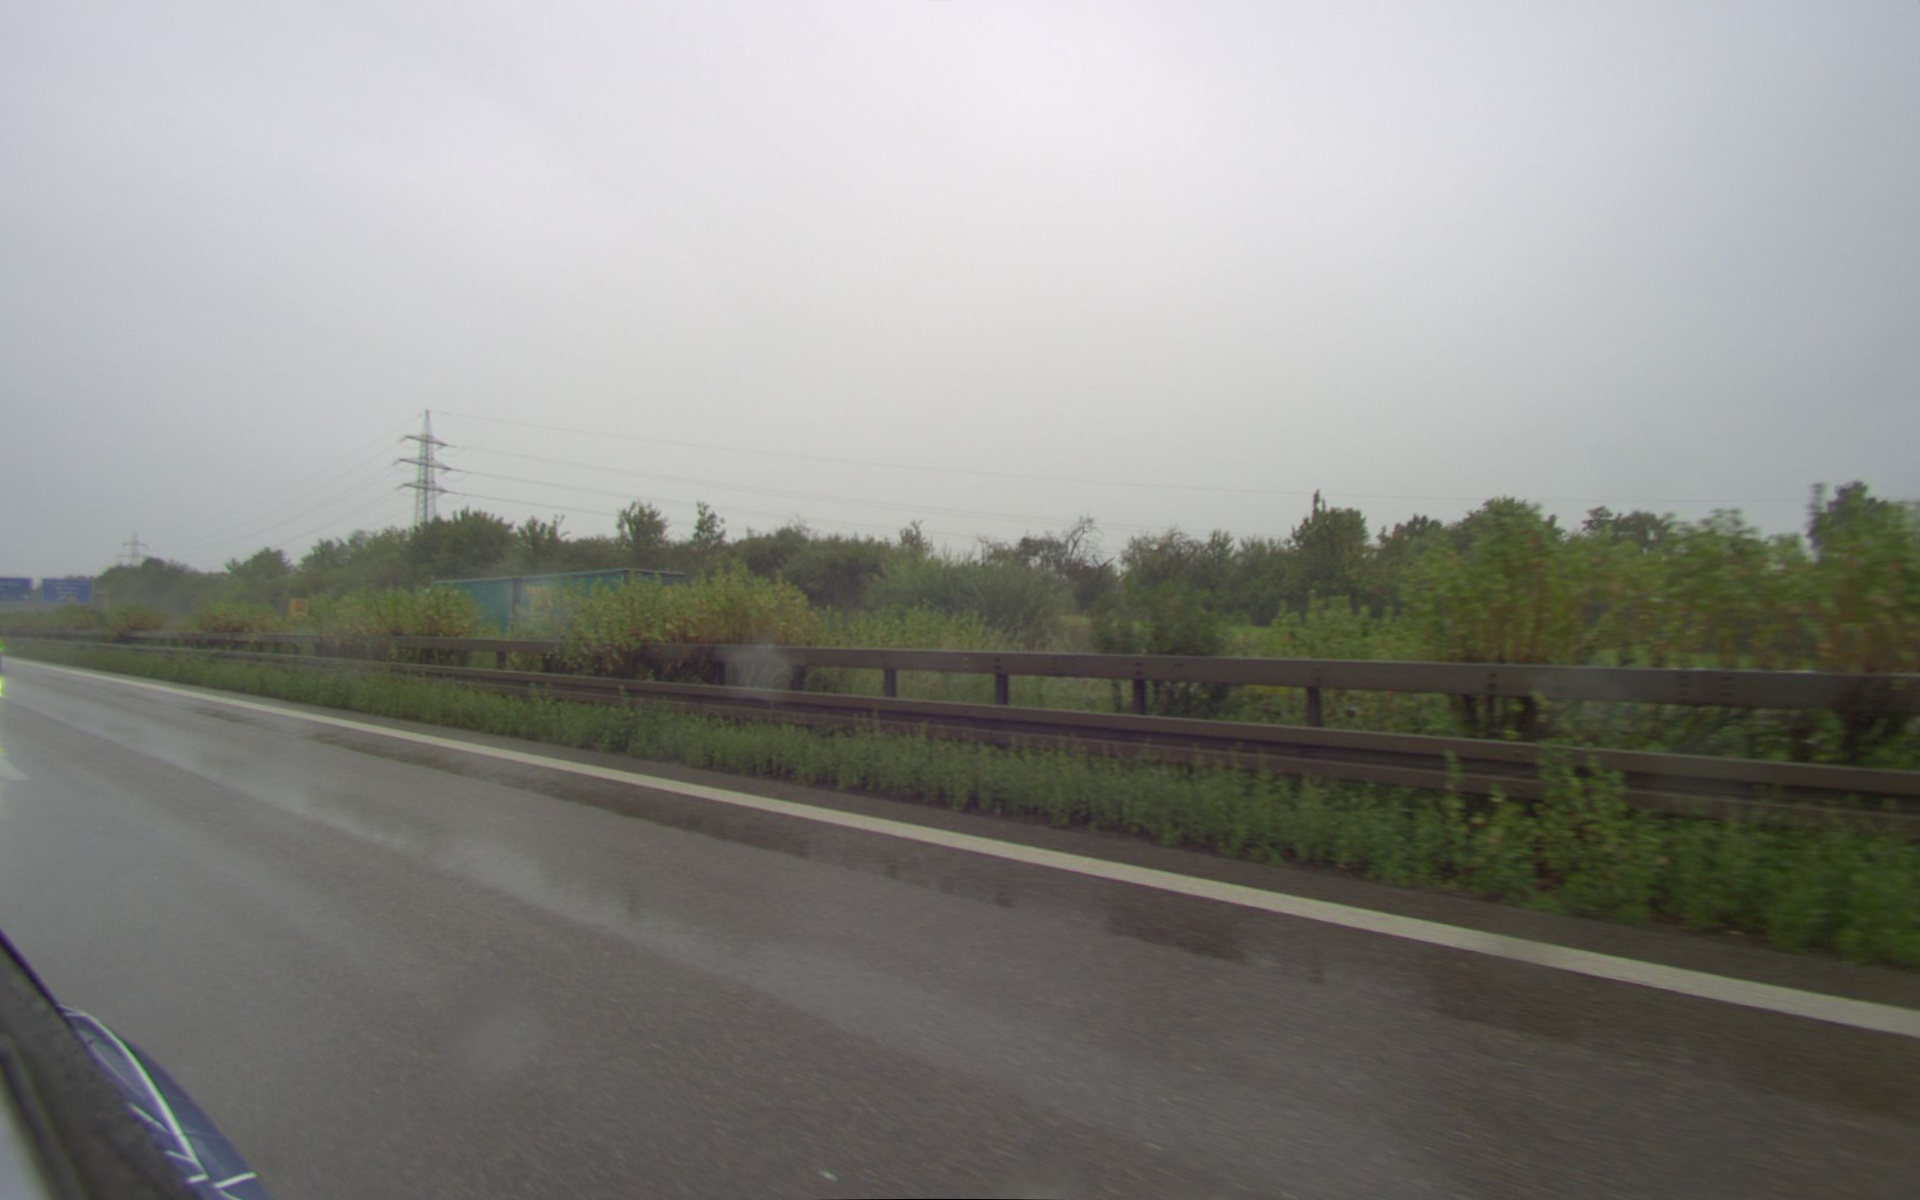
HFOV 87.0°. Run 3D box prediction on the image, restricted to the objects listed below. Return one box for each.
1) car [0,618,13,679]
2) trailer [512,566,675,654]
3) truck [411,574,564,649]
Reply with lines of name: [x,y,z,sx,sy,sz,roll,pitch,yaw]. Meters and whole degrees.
car: [-30.217,1.435,30.533,4.499,1.787,2.020,-1,-1,42]
trailer: [-14.303,0.392,39.081,8.262,3.088,2.223,-1,0,42]
truck: [-21.390,0.506,45.388,10.612,3.059,2.216,-1,0,42]
